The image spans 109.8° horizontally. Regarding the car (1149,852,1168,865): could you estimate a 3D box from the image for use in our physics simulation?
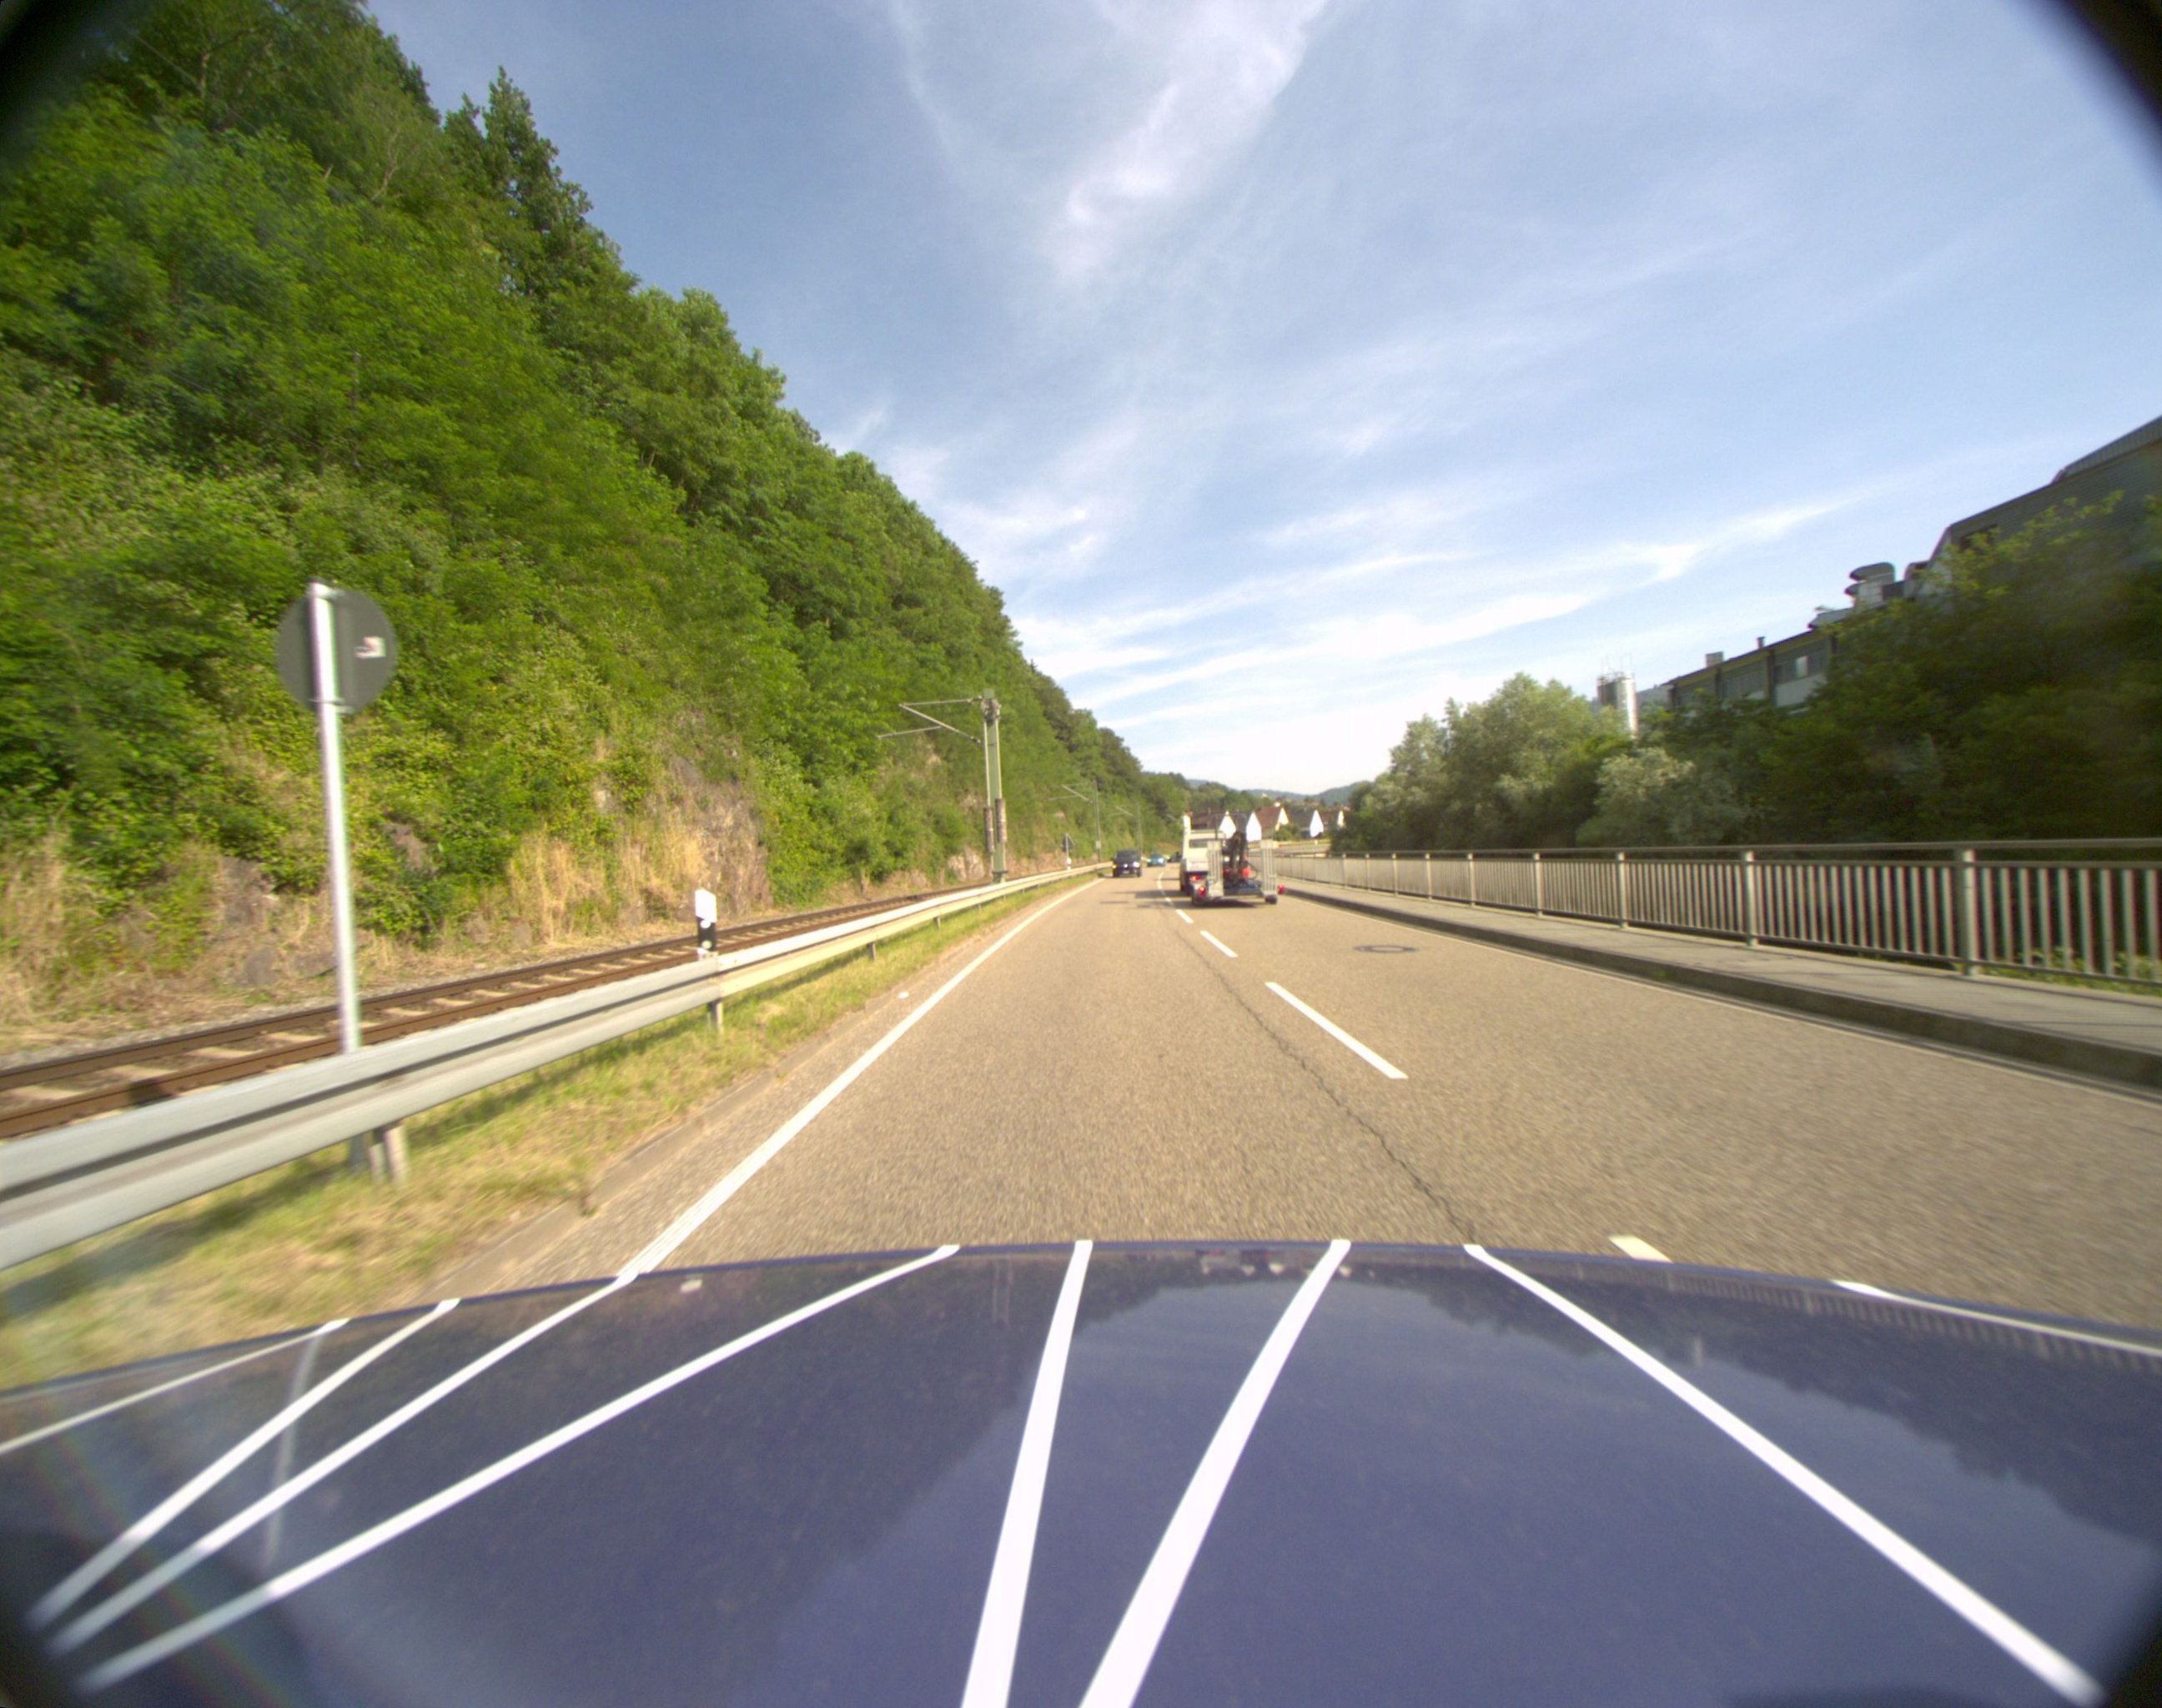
[{"bbox_3d":[8.549,0.452,83.195,1.748,1.424,3.334,0,0,11],"label":"car"}]

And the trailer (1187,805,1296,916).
[{"bbox_3d":[4.391,0.150,21.671,2.126,2.700,5.348,-2,0,3],"label":"trailer"}]

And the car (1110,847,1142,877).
[{"bbox_3d":[3.190,0.550,52.961,1.908,1.868,4.350,-4,-1,6],"label":"car"}]

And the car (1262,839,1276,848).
[{"bbox_3d":[39.728,-2.195,160.700,1.995,1.849,4.006,-2,1,26],"label":"car"}]

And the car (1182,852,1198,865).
[{"bbox_3d":[10.989,0.462,76.596,1.587,1.302,3.502,0,0,8],"label":"car"}]

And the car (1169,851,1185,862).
[{"bbox_3d":[13.071,0.366,103.544,1.650,1.424,3.336,0,0,16],"label":"car"}]

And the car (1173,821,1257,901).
[{"bbox_3d":[4.690,0.215,27.645,2.163,2.517,6.579,-2,0,3],"label":"car"}]
